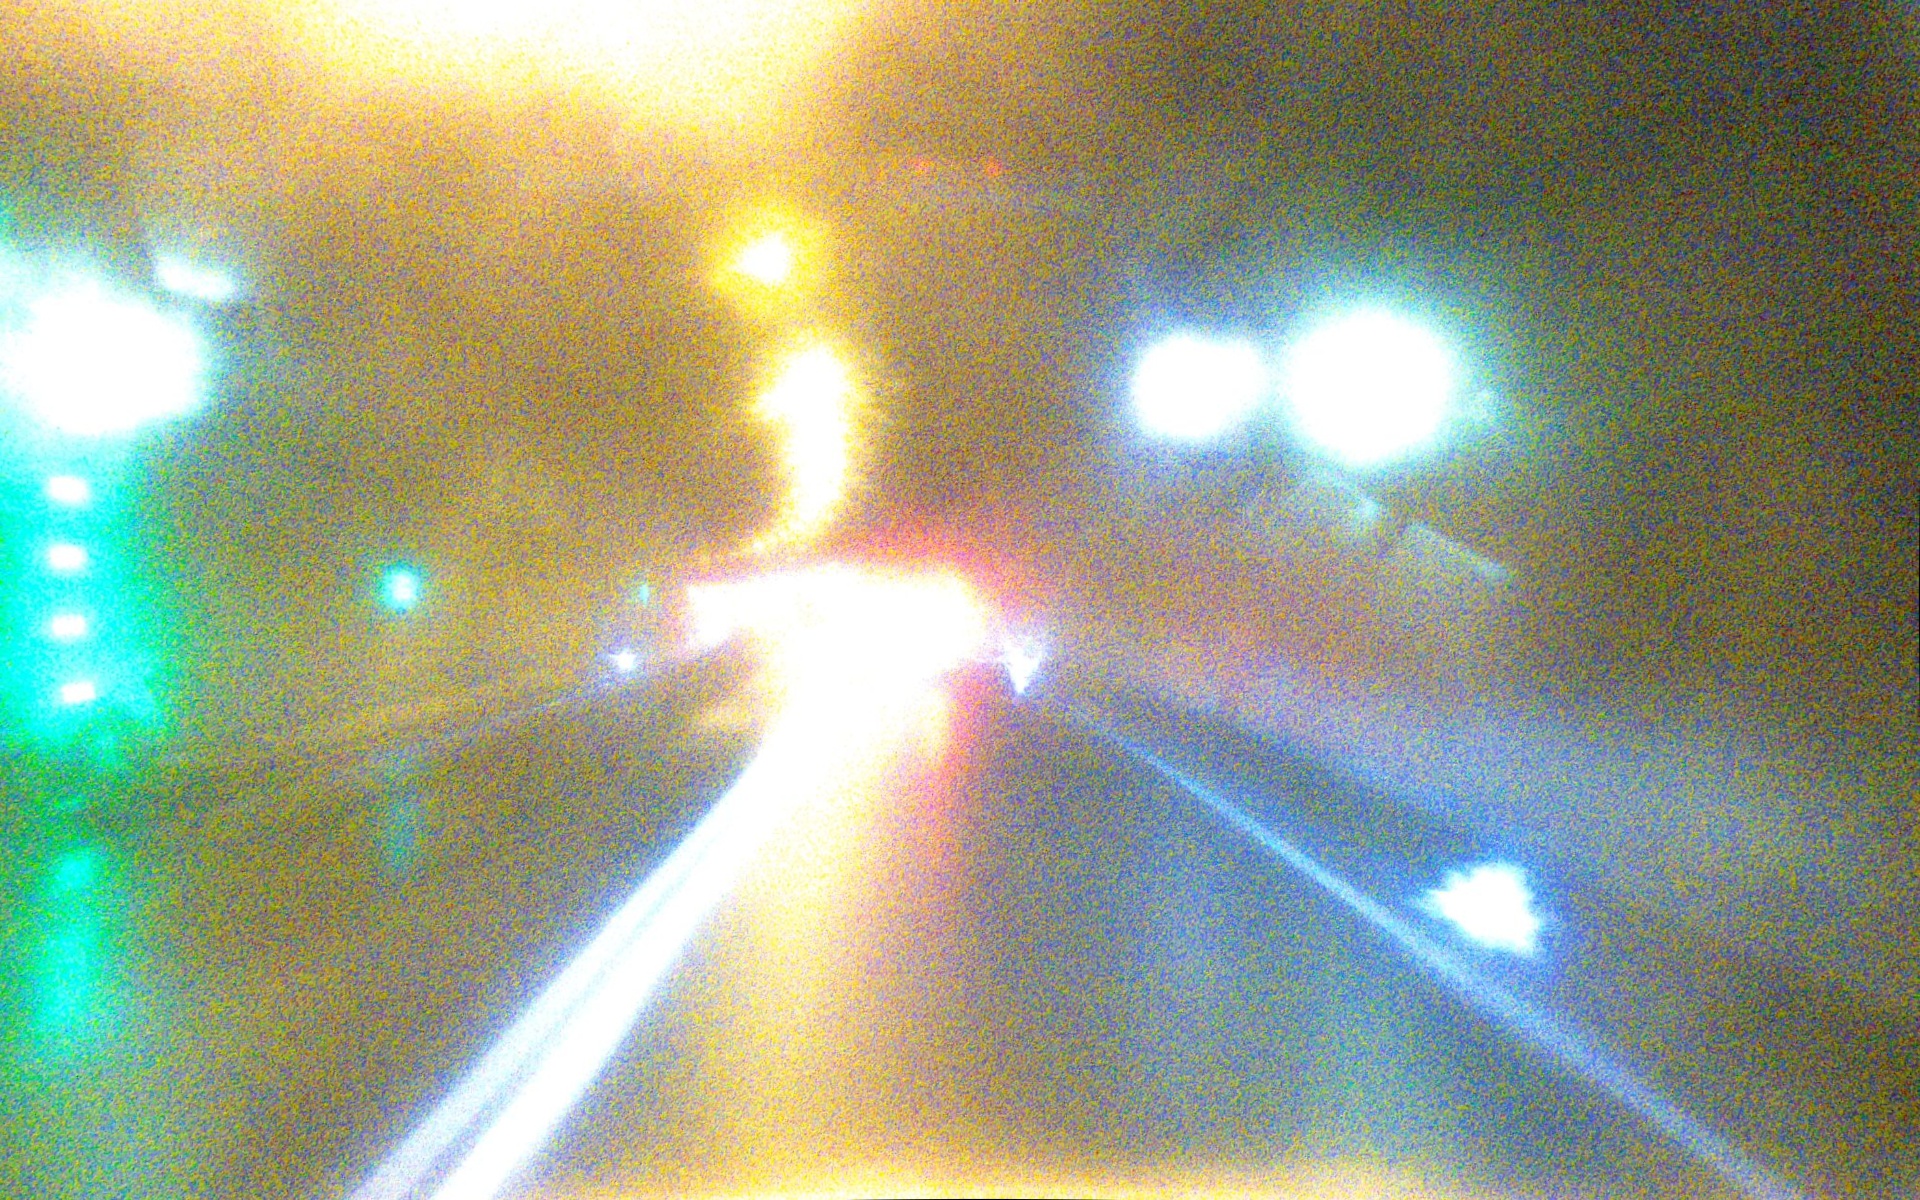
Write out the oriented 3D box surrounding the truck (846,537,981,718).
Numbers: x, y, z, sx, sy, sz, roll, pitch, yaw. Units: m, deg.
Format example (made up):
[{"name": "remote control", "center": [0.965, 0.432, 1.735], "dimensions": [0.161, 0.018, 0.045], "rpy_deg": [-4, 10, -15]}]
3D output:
[{"name": "truck", "center": [-0.956, 0.483, 32.839], "dimensions": [2.217, 3.063, 7.411], "rpy_deg": [3, 0, -2]}]
